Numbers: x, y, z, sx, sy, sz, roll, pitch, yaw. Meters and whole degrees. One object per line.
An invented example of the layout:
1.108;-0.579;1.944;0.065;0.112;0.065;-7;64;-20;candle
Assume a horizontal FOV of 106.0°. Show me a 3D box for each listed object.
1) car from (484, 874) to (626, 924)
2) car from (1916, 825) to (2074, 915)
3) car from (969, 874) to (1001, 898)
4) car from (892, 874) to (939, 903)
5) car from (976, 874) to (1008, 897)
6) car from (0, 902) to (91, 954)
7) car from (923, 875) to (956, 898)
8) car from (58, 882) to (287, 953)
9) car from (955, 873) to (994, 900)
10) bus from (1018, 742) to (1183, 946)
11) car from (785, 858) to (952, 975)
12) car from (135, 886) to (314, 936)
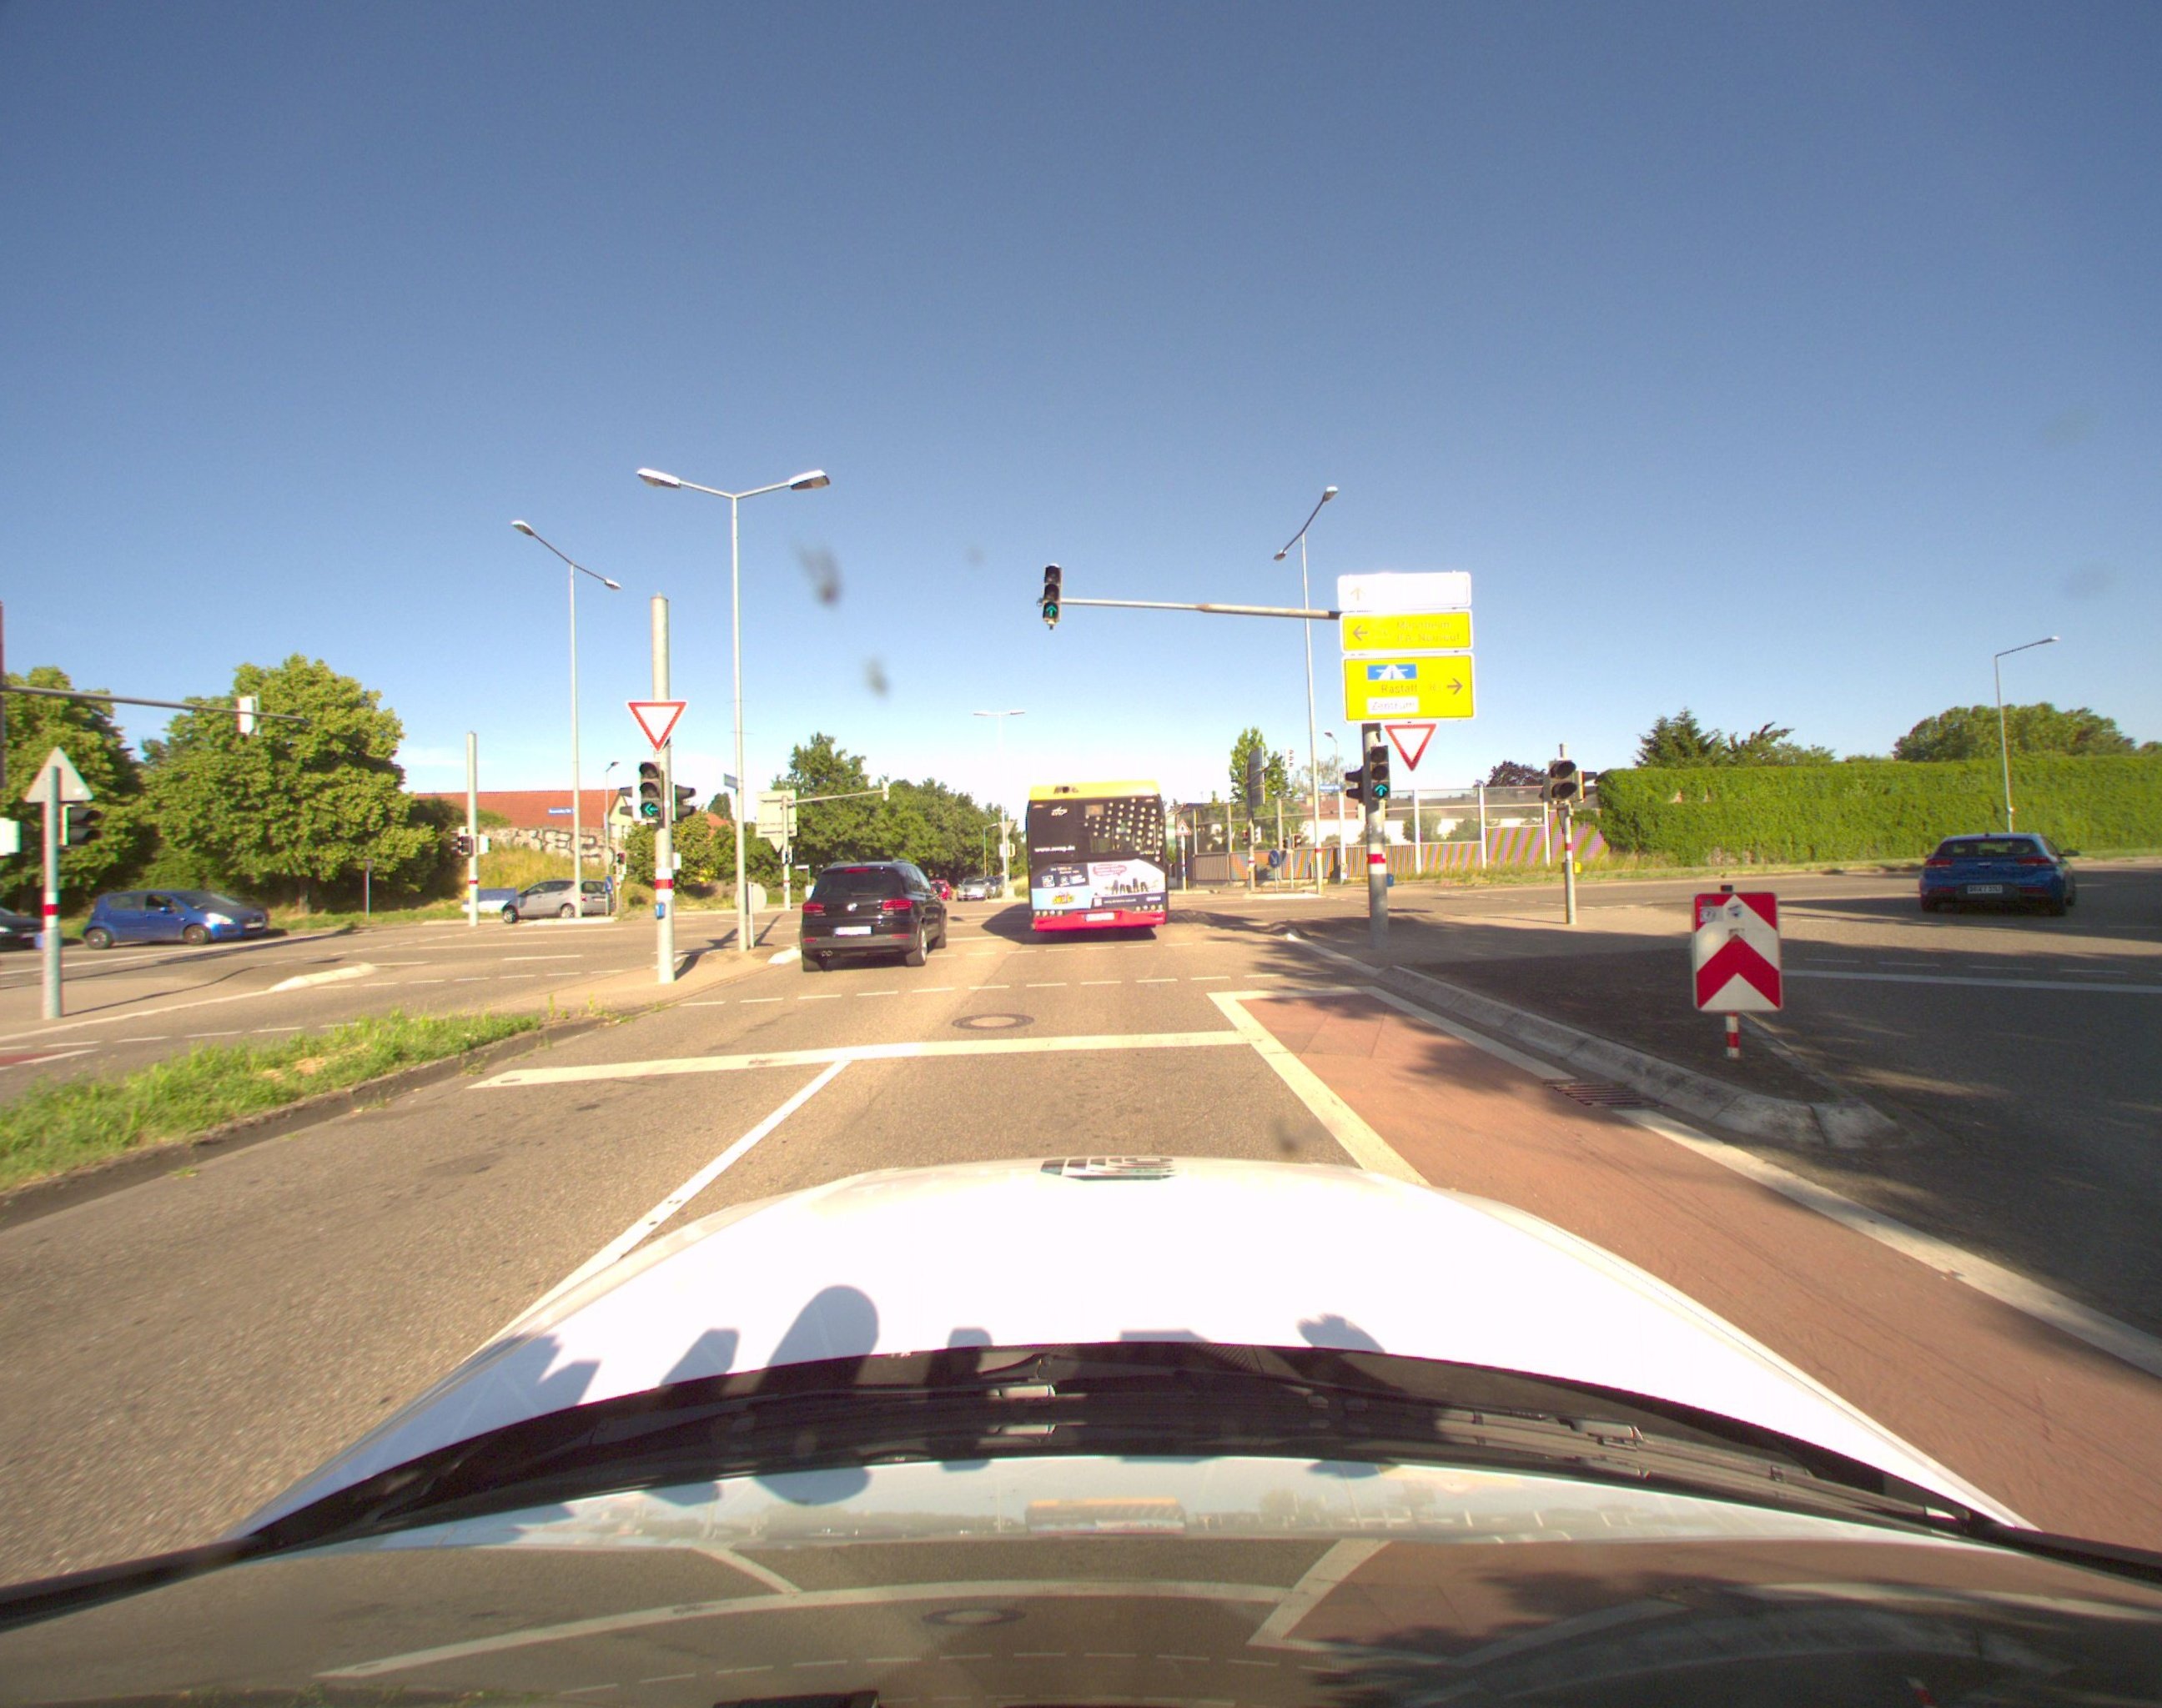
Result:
-19.700;1.677;30.528;4.369;1.616;2.057;-2;1;17;car
17.236;0.244;15.317;3.812;1.440;1.717;-2;0;-38;car
-6.616;2.196;56.392;1.742;1.483;3.886;-3;-2;-1;car
-10.181;2.096;50.488;1.988;1.644;4.528;-3;-2;-1;car
-6.796;2.368;62.780;1.988;1.616;4.527;-3;-2;-1;car
-30.689;2.106;22.510;4.020;1.274;1.890;-2;1;-5;car
-9.960;2.277;57.409;1.640;1.483;3.711;-3;-2;-1;car
-25.547;1.743;23.049;4.020;1.644;1.890;-2;1;-5;car
-6.510;2.002;50.369;1.788;1.506;4.528;-3;-2;-1;car
0.331;-0.127;20.503;2.749;3.458;12.394;-3;-1;0;bus
-3.375;0.925;13.728;1.822;1.627;3.997;-2;-1;-2;car
-32.614;2.158;31.132;4.396;1.616;2.044;-2;-1;-5;car
